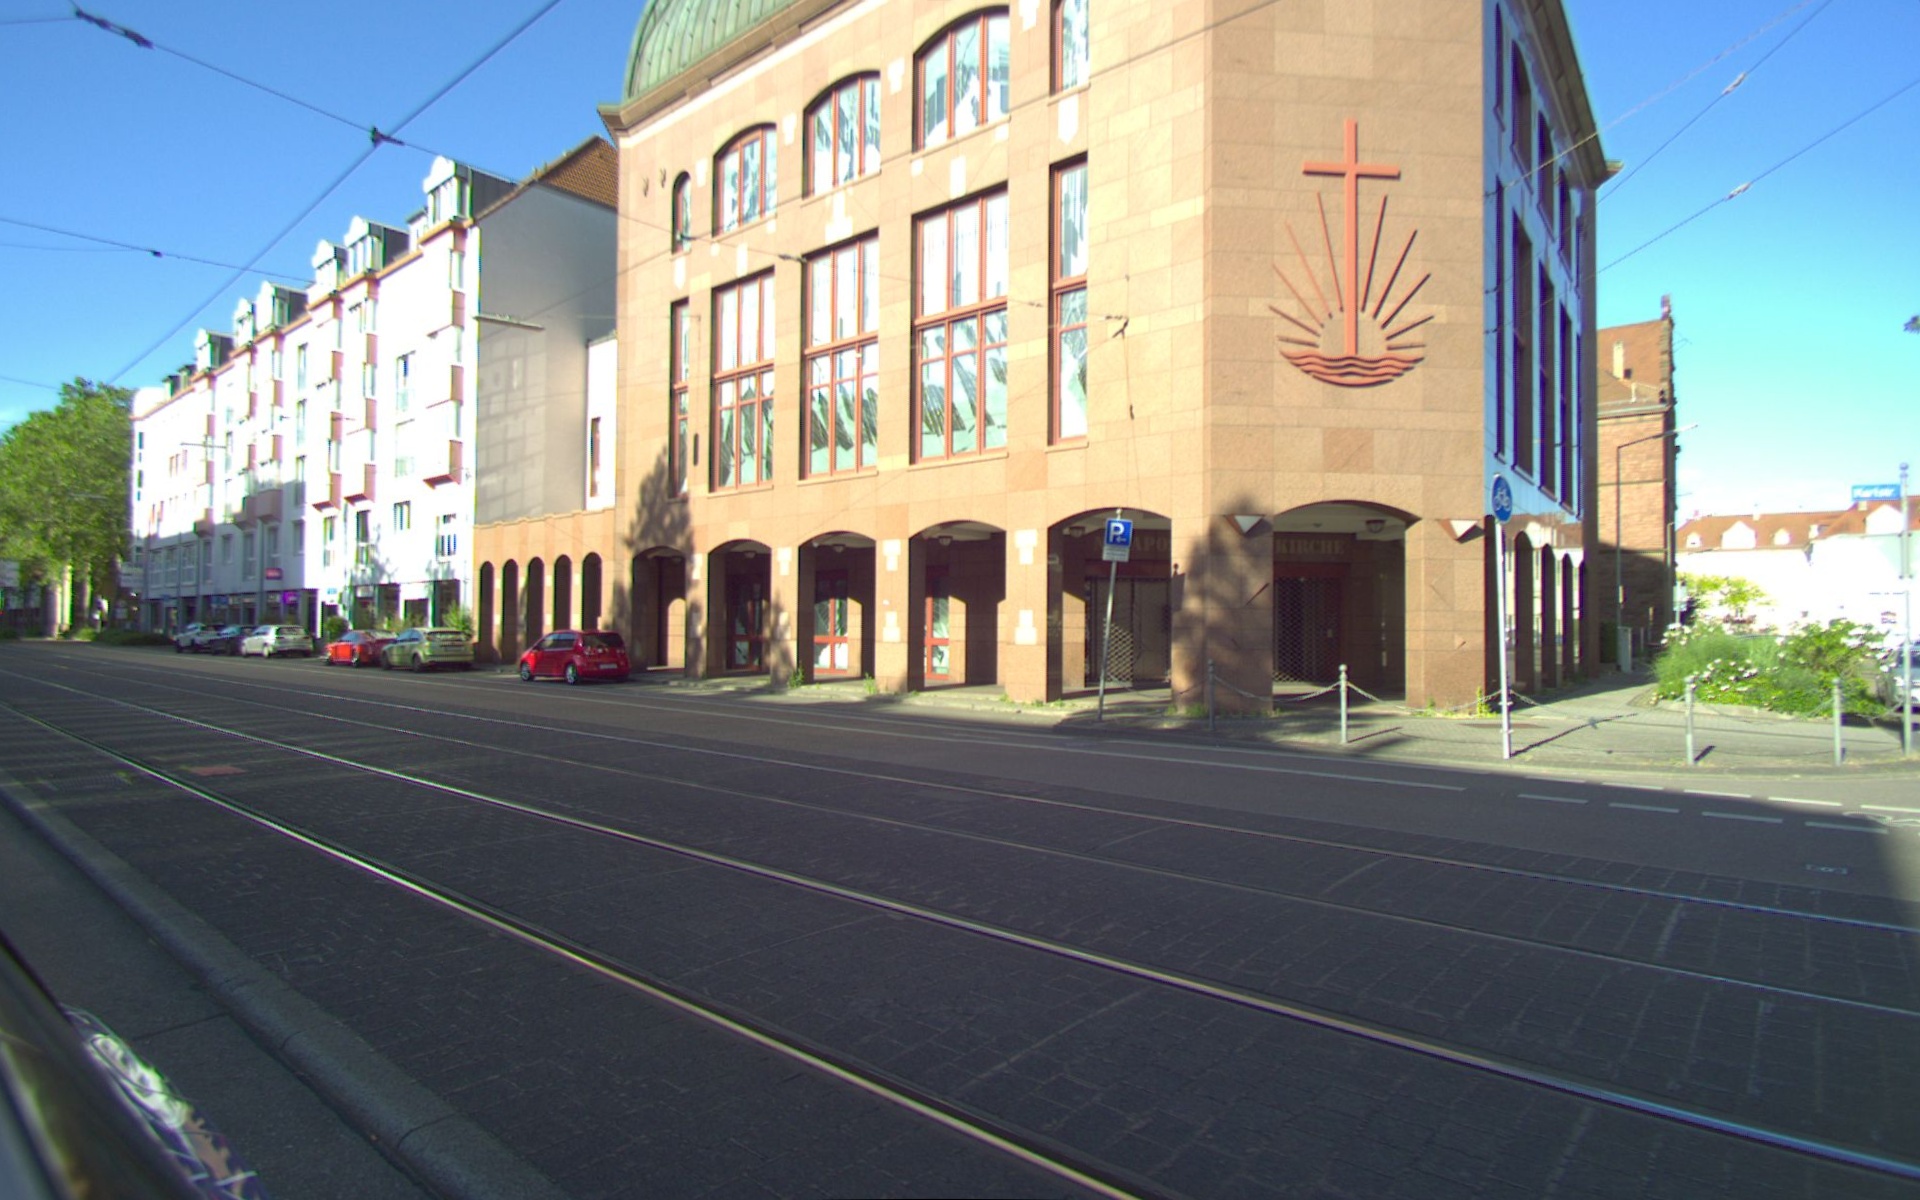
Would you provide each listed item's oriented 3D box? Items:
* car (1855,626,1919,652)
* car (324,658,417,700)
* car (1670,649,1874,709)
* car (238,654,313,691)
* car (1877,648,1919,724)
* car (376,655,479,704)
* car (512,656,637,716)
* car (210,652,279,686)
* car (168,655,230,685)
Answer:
[{"bbox_3d":[74.377,3.074,80.354,4.829,2.029,1.974,-3,-3,39],"label":"car"},{"bbox_3d":[-21.769,2.865,37.335,3.851,1.364,1.832,-2,-2,41],"label":"car"},{"bbox_3d":[22.453,2.154,28.232,4.267,1.542,1.975,-2,-3,36],"label":"car"},{"bbox_3d":[-30.327,3.165,44.810,3.851,1.465,1.832,-2,-2,41],"label":"car"},{"bbox_3d":[21.606,1.841,22.205,1.999,1.542,4.217,-2,-3,40],"label":"car"},{"bbox_3d":[-18.010,2.649,34.156,3.851,1.465,1.832,-2,-2,41],"label":"car"},{"bbox_3d":[-10.658,2.310,27.909,3.468,1.465,1.731,-2,-2,40],"label":"car"},{"bbox_3d":[-33.955,3.228,48.004,3.851,1.465,1.832,-2,-2,41],"label":"car"},{"bbox_3d":[-39.736,3.624,52.813,3.851,1.465,1.832,-2,-2,41],"label":"car"}]
